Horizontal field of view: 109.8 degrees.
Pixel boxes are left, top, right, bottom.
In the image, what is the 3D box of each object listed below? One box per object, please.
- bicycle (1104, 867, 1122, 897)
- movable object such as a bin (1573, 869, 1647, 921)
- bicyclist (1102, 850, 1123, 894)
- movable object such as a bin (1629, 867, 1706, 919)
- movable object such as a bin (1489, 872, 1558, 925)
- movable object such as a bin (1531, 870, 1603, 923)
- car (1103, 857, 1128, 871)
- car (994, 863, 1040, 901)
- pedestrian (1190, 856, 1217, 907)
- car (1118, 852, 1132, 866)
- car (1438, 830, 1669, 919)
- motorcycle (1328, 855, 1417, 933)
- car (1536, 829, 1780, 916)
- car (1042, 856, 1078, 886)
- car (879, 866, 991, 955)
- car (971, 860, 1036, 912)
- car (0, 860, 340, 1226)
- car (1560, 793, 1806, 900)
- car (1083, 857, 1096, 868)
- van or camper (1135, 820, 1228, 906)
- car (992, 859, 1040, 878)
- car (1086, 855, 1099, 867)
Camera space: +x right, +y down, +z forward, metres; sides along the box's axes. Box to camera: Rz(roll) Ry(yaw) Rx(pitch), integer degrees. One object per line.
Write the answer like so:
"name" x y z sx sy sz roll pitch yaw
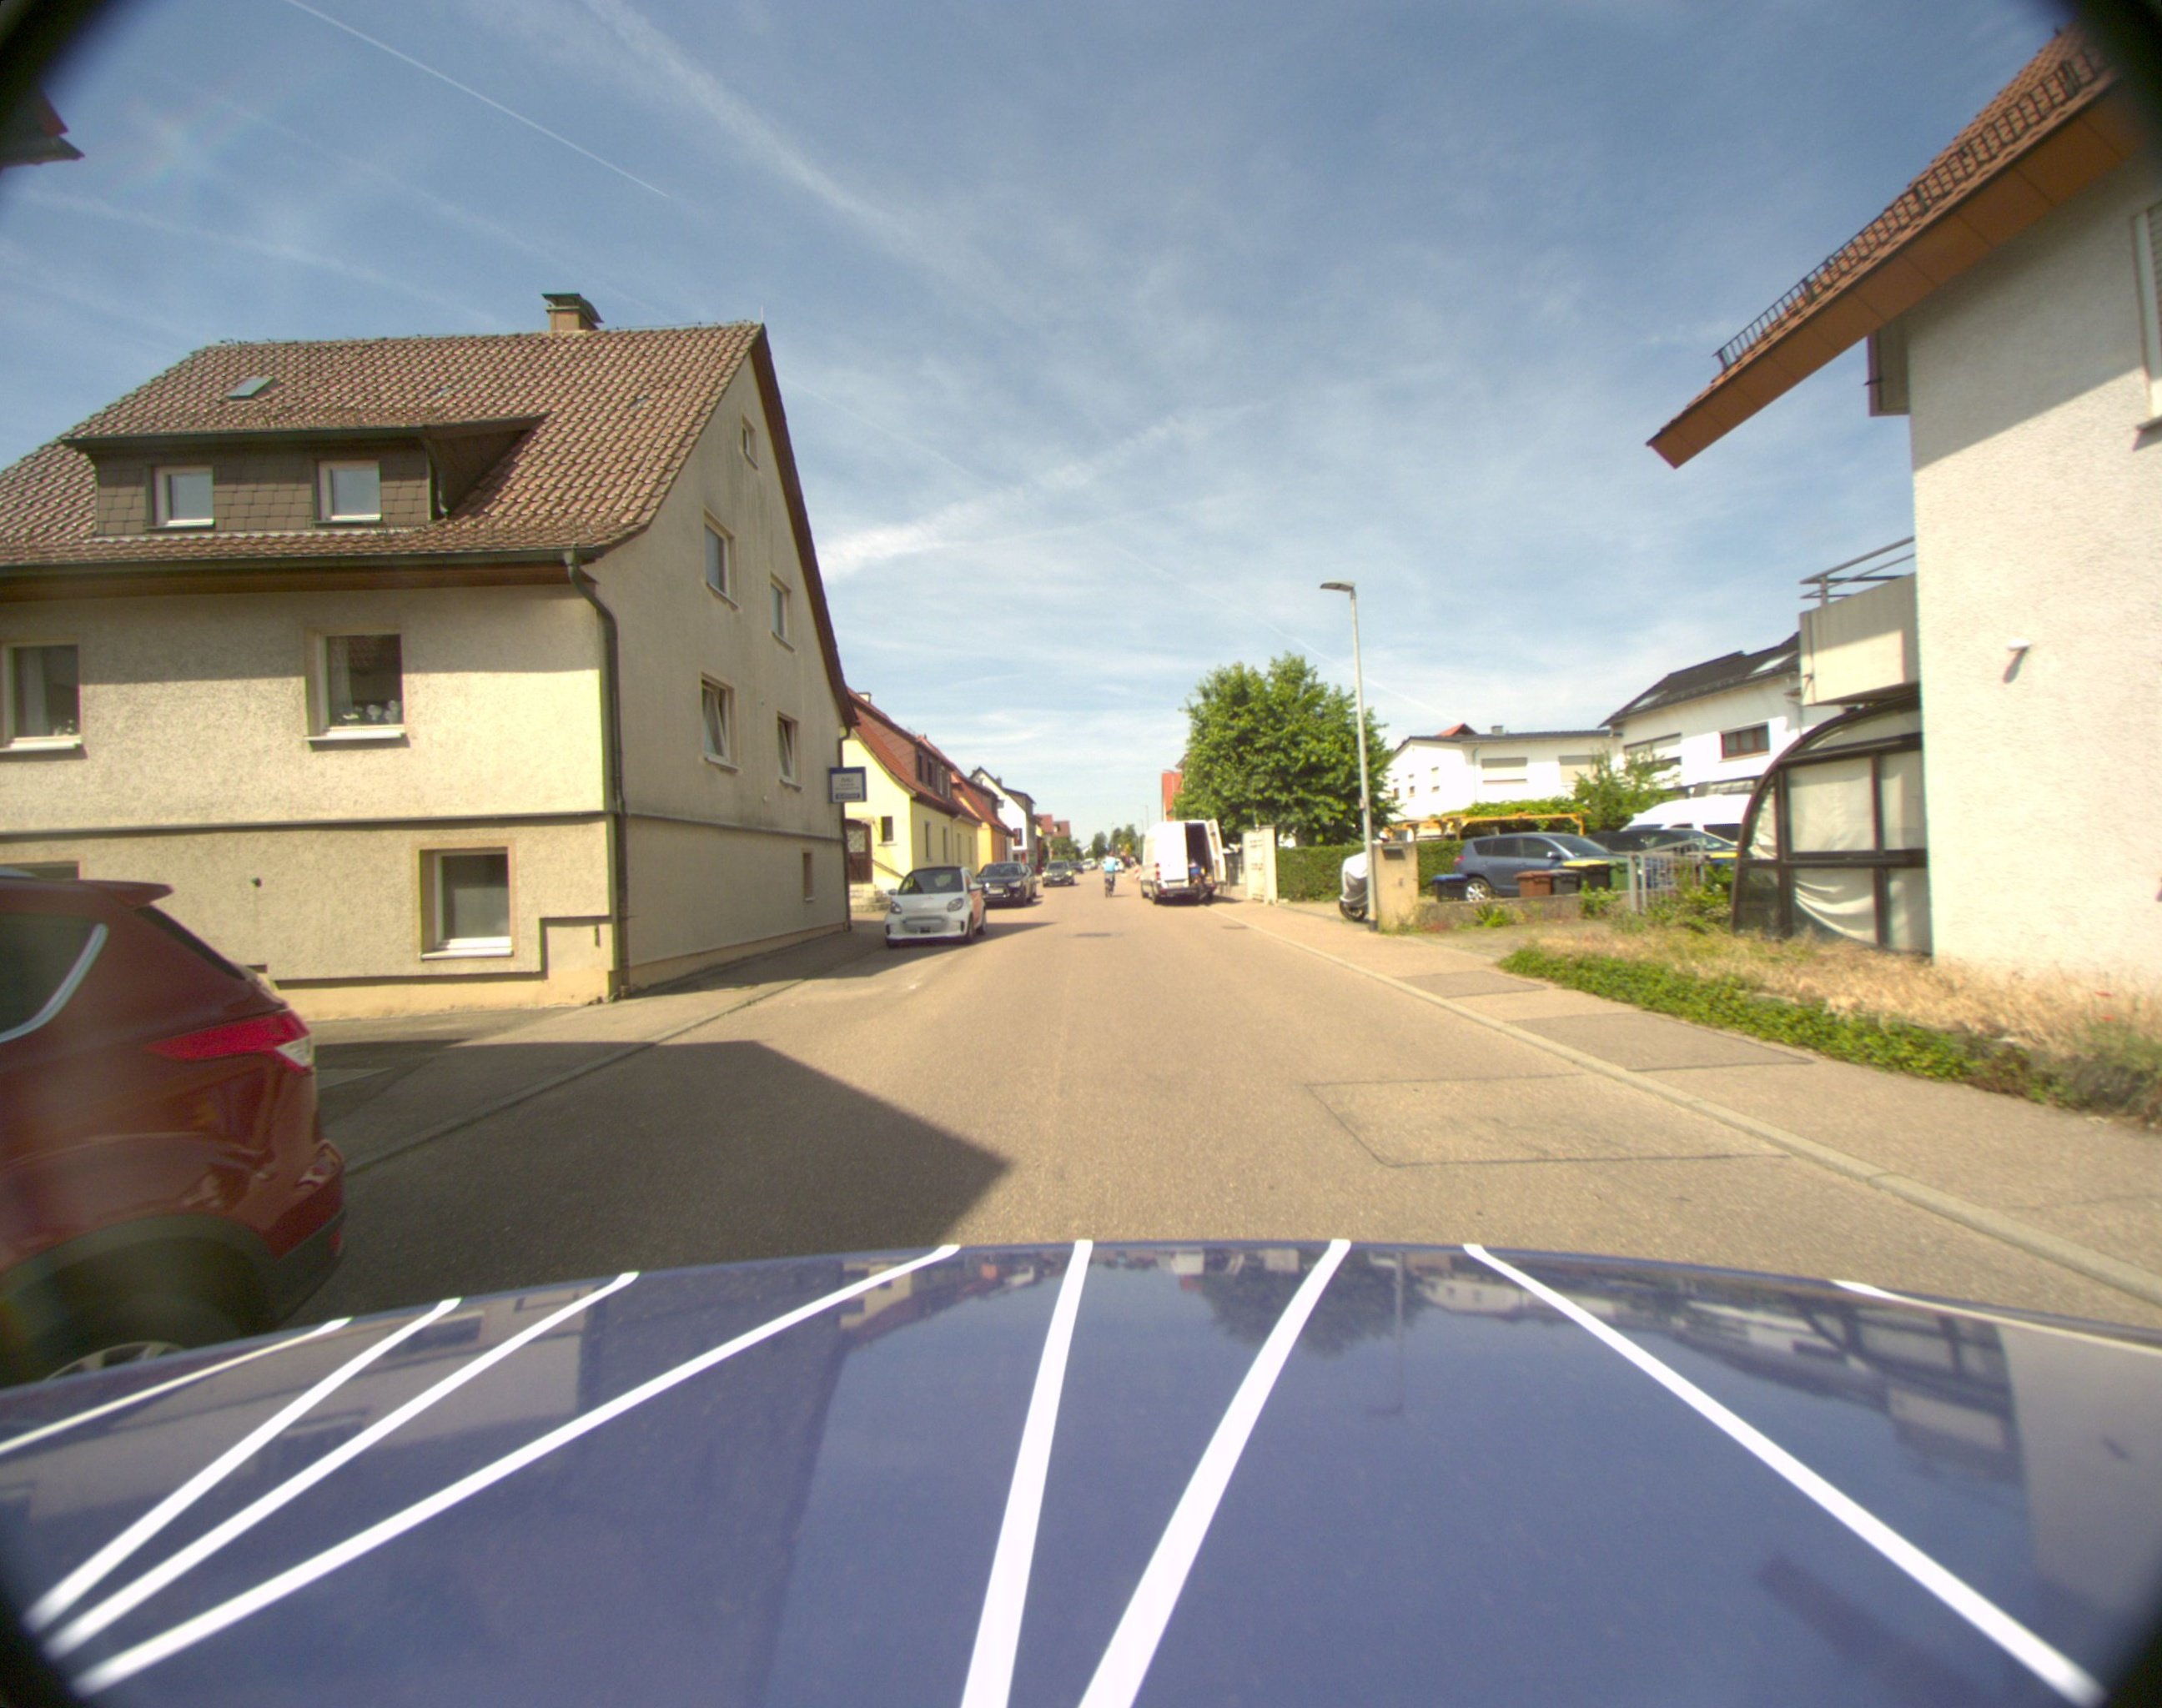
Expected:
"bicycle" 1.330 1.142 31.417 0.672 1.126 2.190 -2 0 4
"movable object such as a bin" 9.792 0.748 14.085 0.802 0.900 0.773 -2 0 0
"bicyclist" 1.306 0.734 31.287 0.714 1.788 0.942 -2 0 5
"movable object such as a bin" 10.818 0.708 14.034 0.802 0.900 0.773 -2 0 -3
"movable object such as a bin" 8.160 0.811 14.043 0.802 0.900 0.773 -2 0 0
"movable object such as a bin" 8.972 0.778 14.059 0.802 0.900 0.773 -2 0 0
"car" 3.433 1.002 77.318 1.929 1.390 4.492 -2 0 -5
"car" -2.706 1.161 32.939 1.615 1.422 3.754 -3 0 0
"pedestrian" 3.745 0.823 23.202 0.574 1.509 0.726 -5 1 -2
"car" 6.521 0.694 112.190 1.972 1.940 4.697 -2 0 3
"car" 10.163 0.420 16.690 1.776 1.668 3.931 -2 0 -25
"motorcycle" 5.705 0.736 15.047 0.785 1.385 2.352 -2 0 0
"car" 12.710 0.383 17.094 1.735 1.668 4.102 -2 0 -17
"car" -1.246 1.022 47.153 1.838 1.637 4.324 -3 0 3
"car" -2.917 1.077 15.788 1.678 1.549 3.040 -3 0 0
"car" -2.684 1.077 27.223 1.733 1.590 4.253 -3 0 1
"car" -7.753 1.069 4.526 4.528 1.832 2.000 -3 0 -2
"car" 15.558 -0.184 19.828 4.815 2.478 1.965 -2 0 -1
"car" 1.286 1.245 114.197 1.755 1.412 4.422 -3 0 4
"van or camper" 3.365 0.295 27.017 2.190 2.556 6.806 -3 0 -1
"car" -6.326 1.410 74.425 4.301 1.643 1.849 -3 0 9
"car" 1.824 1.099 121.341 1.740 1.652 4.338 -4 0 4
